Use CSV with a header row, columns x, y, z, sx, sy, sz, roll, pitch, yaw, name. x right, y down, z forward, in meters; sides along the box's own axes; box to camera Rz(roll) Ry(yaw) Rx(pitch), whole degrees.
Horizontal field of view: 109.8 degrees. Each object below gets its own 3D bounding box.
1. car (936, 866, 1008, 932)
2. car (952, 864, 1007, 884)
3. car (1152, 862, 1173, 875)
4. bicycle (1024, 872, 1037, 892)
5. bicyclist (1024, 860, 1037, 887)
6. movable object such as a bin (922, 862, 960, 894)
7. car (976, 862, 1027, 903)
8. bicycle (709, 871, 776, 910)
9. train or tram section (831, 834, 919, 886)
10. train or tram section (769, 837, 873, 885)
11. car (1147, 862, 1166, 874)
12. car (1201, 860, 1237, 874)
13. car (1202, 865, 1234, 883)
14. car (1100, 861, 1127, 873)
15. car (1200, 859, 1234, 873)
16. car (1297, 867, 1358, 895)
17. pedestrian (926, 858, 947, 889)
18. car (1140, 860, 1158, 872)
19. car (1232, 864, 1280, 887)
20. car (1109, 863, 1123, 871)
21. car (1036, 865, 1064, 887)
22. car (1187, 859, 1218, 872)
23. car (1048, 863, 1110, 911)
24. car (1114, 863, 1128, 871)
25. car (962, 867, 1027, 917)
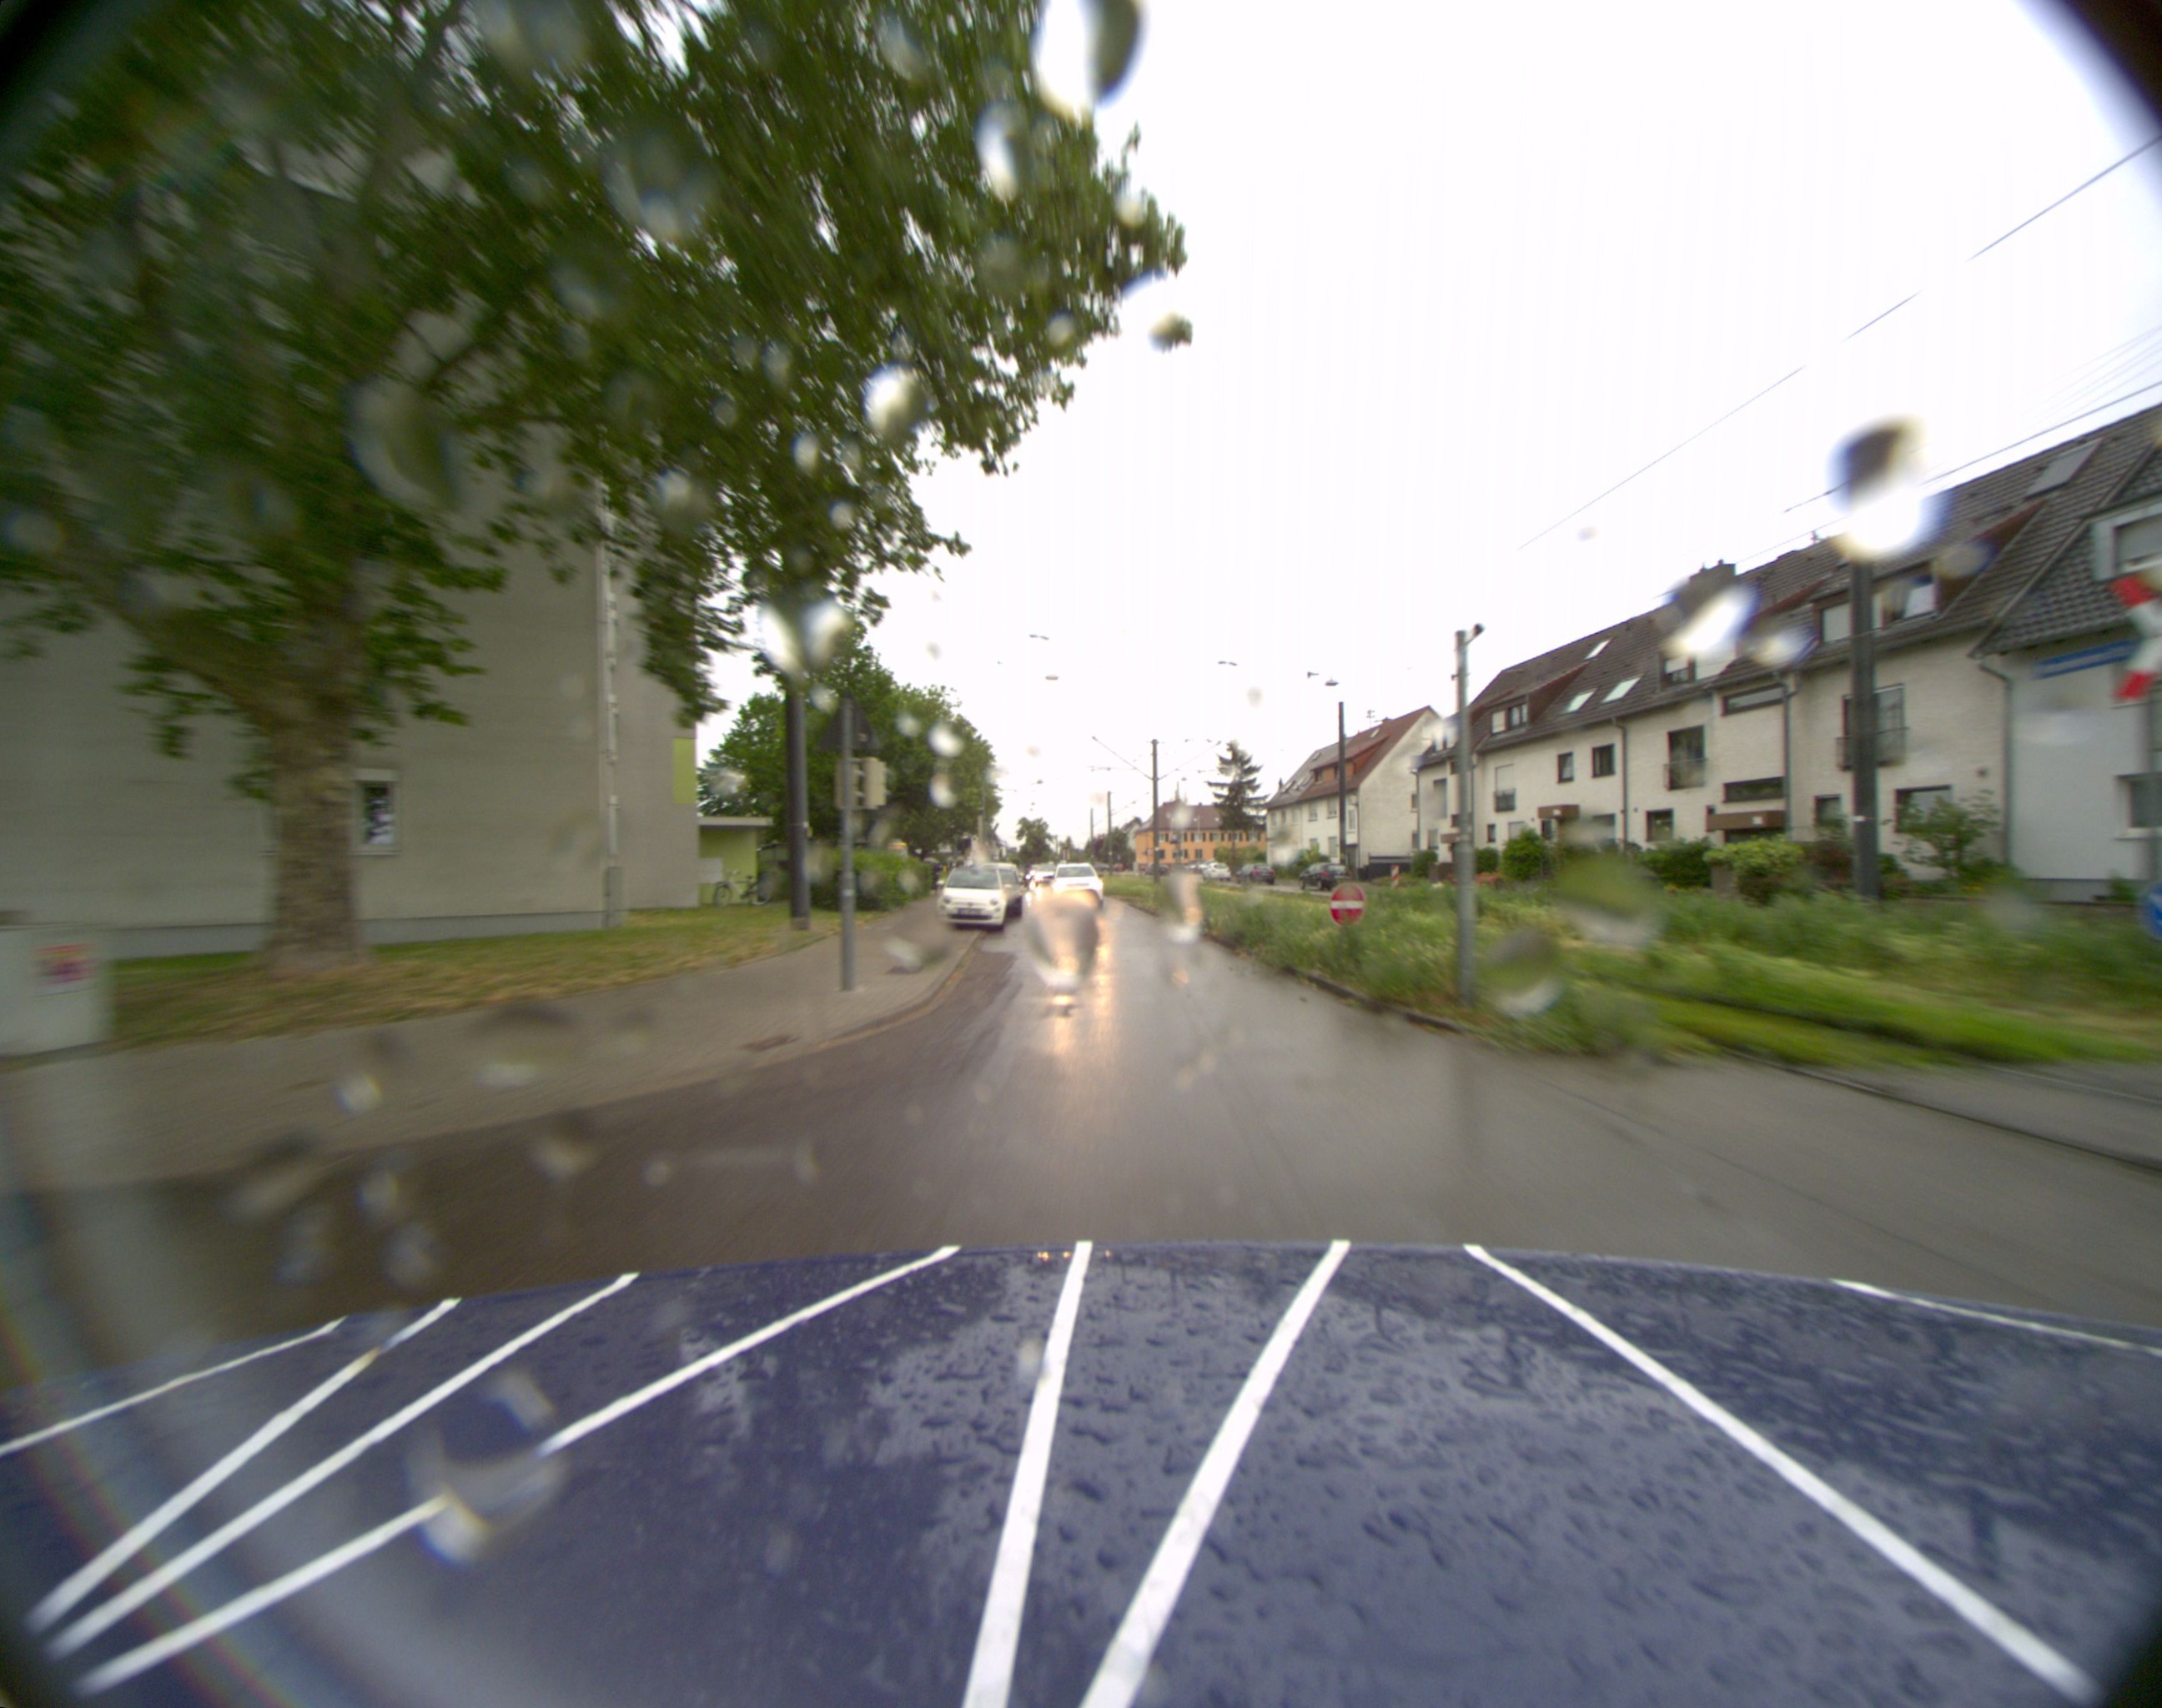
x,y,z,sx,sy,sz,roll,pitch,yaw,name
-2.706,1.073,19.587,1.563,1.510,3.999,0,-1,-4,car
-8.034,1.563,60.246,4.008,1.518,1.715,0,0,-36,car
9.820,1.750,91.785,1.913,1.581,3.999,0,-1,-4,car
-2.844,1.558,42.552,0.711,1.031,2.098,0,0,-4,bicycle
-2.845,1.105,42.585,0.711,1.503,0.715,0,0,-4,bicyclist
-6.539,1.115,35.464,1.155,1.432,1.472,0,0,-43,movable object such as a bin
-3.173,1.092,30.768,1.905,1.565,4.110,0,-1,-5,car
-10.532,1.127,23.683,1.864,1.135,0.532,-1,-1,-28,bicycle
-14.086,0.450,51.695,6.382,3.320,2.763,-1,0,43,train or tram section
-19.631,0.546,56.792,10.322,3.320,2.763,-1,-1,43,train or tram section
9.571,1.767,96.459,1.882,1.520,3.999,0,-1,-4,car
16.756,1.549,92.421,3.998,1.586,1.913,-2,0,-2,car
11.538,1.684,64.133,1.716,1.431,3.999,0,-1,-5,car
4.954,1.925,115.358,3.997,1.712,1.672,-2,0,0,car
17.013,1.535,95.126,3.996,1.586,1.914,-2,0,4,car
13.003,1.406,40.374,1.778,1.417,3.936,0,-1,-3,car
-8.227,1.088,43.254,1.018,1.764,0.865,0,0,1,pedestrian
9.436,1.629,105.370,1.999,1.647,3.999,-2,0,-2,car
12.145,1.493,52.971,1.892,1.522,4.755,0,-1,-5,car
6.352,2.276,138.203,2.097,1.422,4.076,0,-1,-5,car
-2.261,1.536,54.289,1.854,1.500,4.119,0,-1,-5,car
15.740,1.496,98.428,3.994,1.586,1.915,-2,0,10,car
-0.144,1.092,26.868,1.854,1.500,4.119,-1,0,-5,car
6.797,2.237,129.489,1.886,1.422,4.076,0,-1,-5,car
-2.721,1.151,24.426,1.905,1.440,4.182,0,-1,-5,car
